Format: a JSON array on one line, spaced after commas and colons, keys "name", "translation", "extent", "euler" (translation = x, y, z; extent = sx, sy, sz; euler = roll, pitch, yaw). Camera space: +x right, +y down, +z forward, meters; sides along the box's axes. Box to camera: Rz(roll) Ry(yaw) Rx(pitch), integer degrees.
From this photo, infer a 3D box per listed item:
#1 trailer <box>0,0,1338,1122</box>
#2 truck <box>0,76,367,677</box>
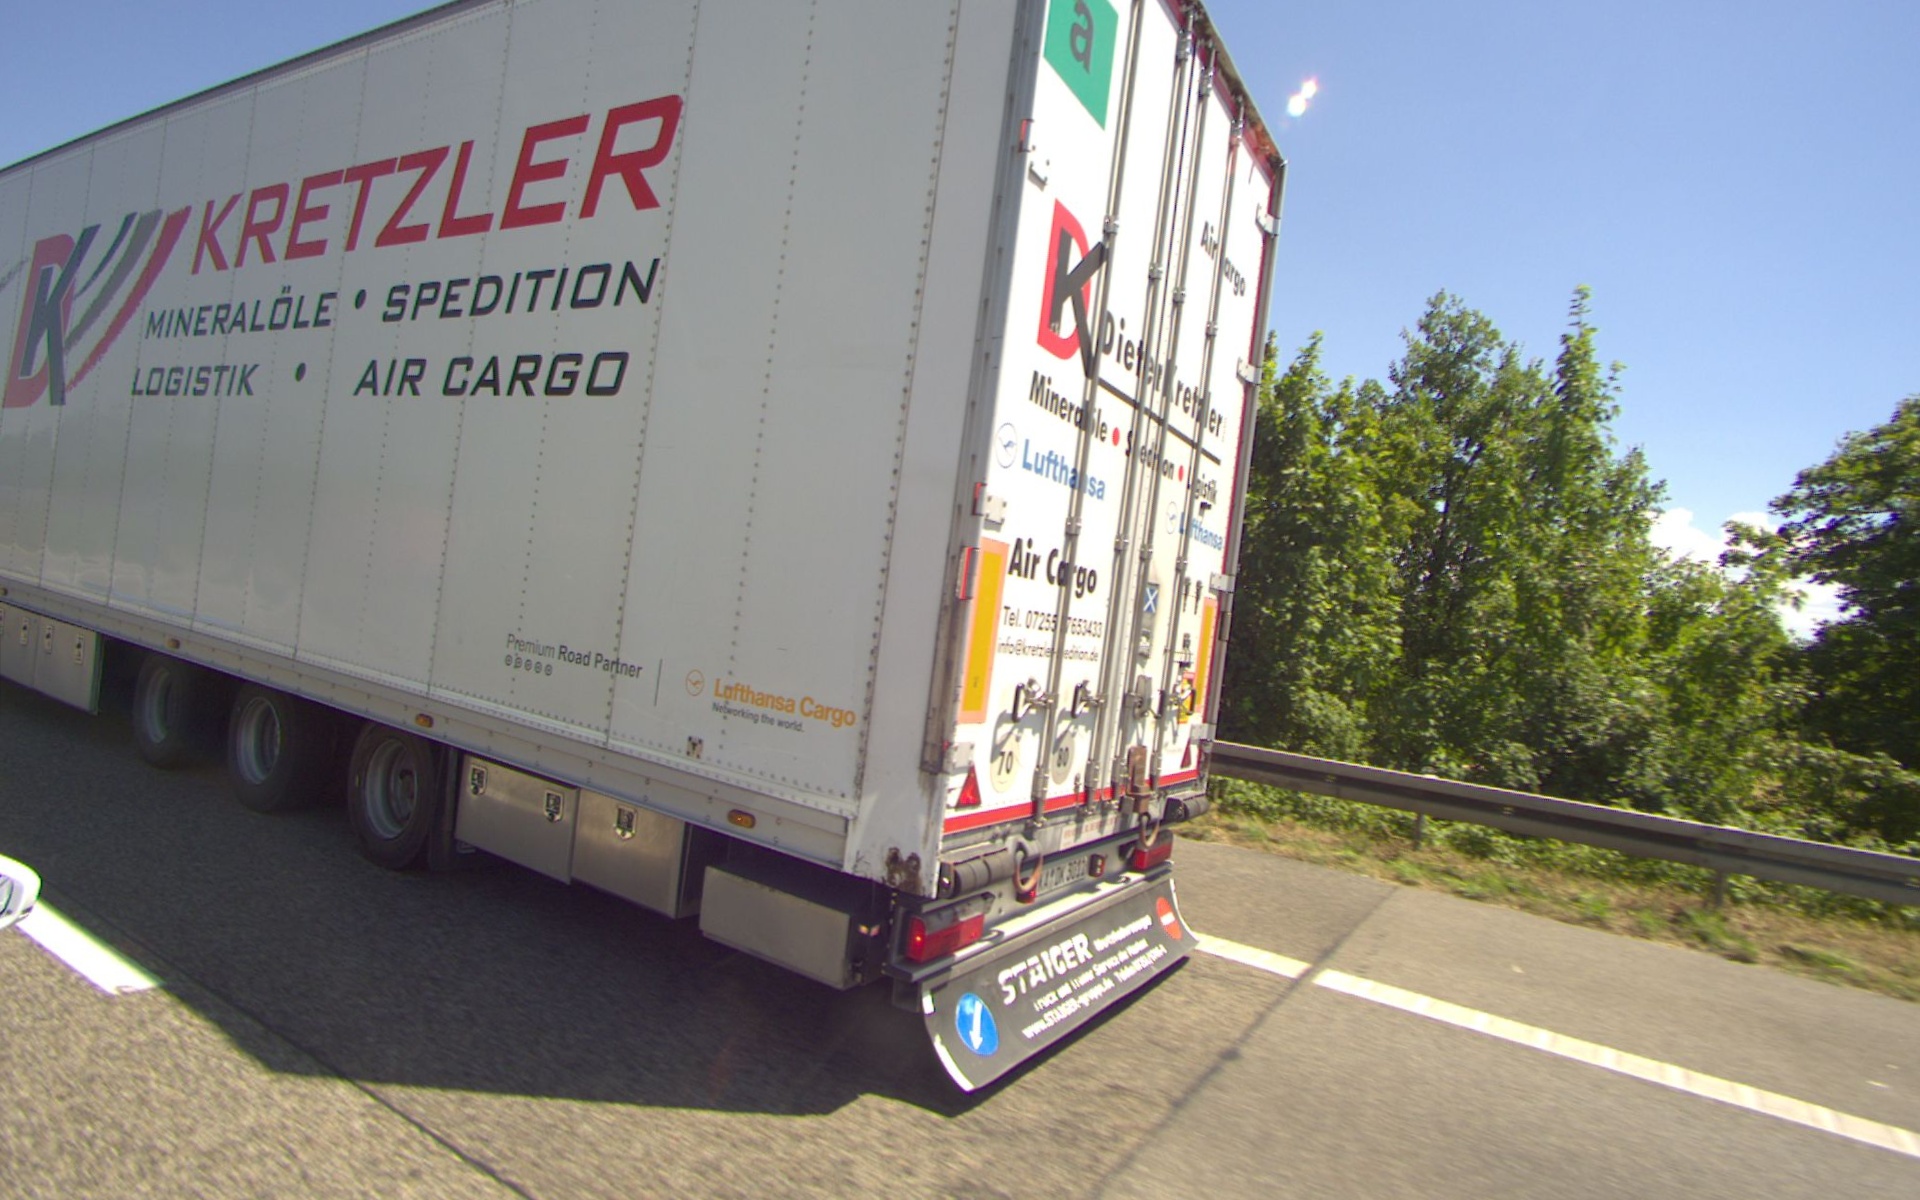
[{"name": "trailer", "translation": [-4.873, -1.585, 7.801], "extent": [13.797, 4.895, 3.274], "euler": [7, 0, 32]}, {"name": "truck", "translation": [-10.437, -2.121, 11.342], "extent": [6.857, 4.948, 3.239], "euler": [7, 0, 32]}]
